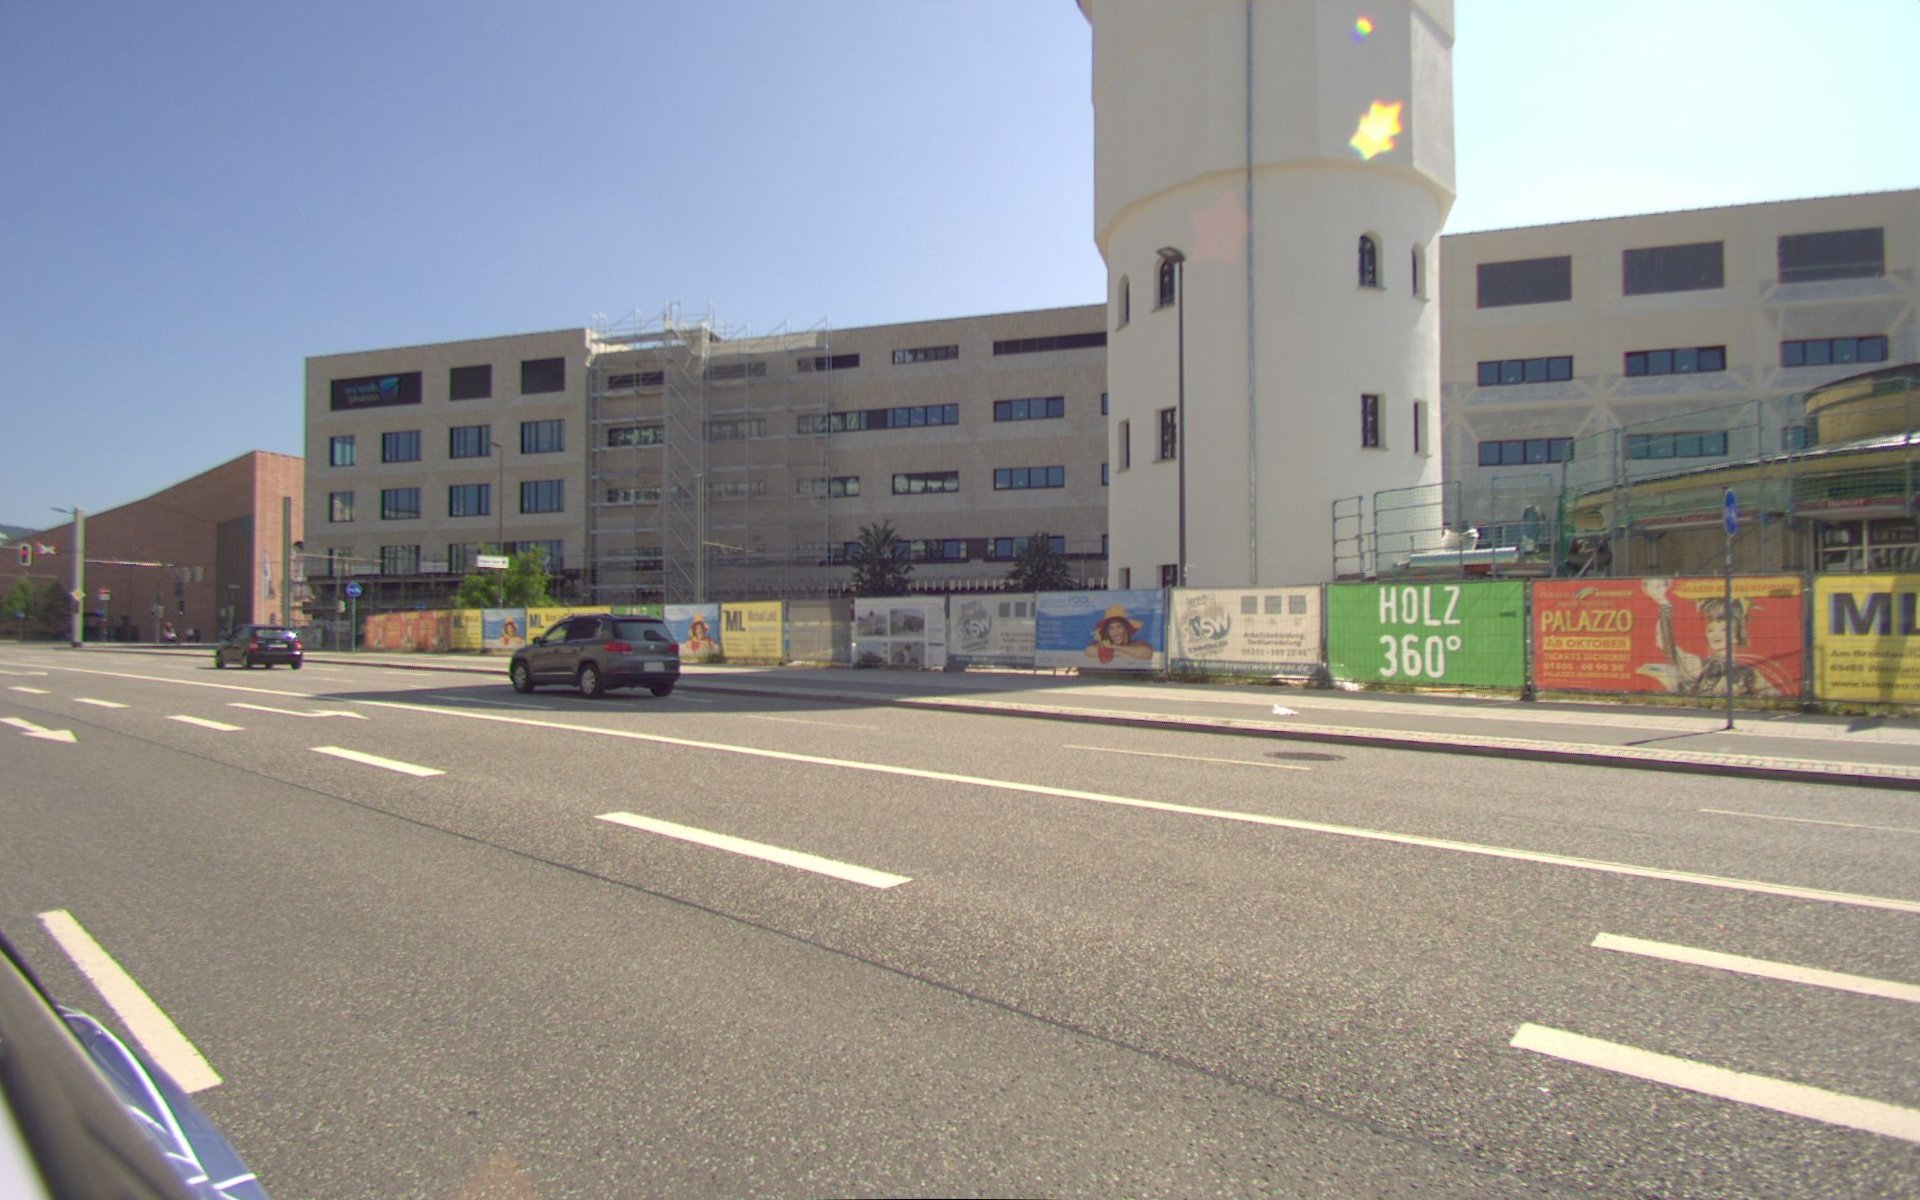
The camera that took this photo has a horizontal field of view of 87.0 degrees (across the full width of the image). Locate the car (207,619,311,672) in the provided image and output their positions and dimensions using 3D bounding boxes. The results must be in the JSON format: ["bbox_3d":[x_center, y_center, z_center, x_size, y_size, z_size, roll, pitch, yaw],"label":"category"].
[{"bbox_3d":[-23.251,1.470,33.521,3.998,1.624,1.909,-1,-2,41],"label":"car"}]

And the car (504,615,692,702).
[{"bbox_3d":[-7.404,1.136,20.540,3.967,1.602,1.779,-1,-3,39],"label":"car"}]
